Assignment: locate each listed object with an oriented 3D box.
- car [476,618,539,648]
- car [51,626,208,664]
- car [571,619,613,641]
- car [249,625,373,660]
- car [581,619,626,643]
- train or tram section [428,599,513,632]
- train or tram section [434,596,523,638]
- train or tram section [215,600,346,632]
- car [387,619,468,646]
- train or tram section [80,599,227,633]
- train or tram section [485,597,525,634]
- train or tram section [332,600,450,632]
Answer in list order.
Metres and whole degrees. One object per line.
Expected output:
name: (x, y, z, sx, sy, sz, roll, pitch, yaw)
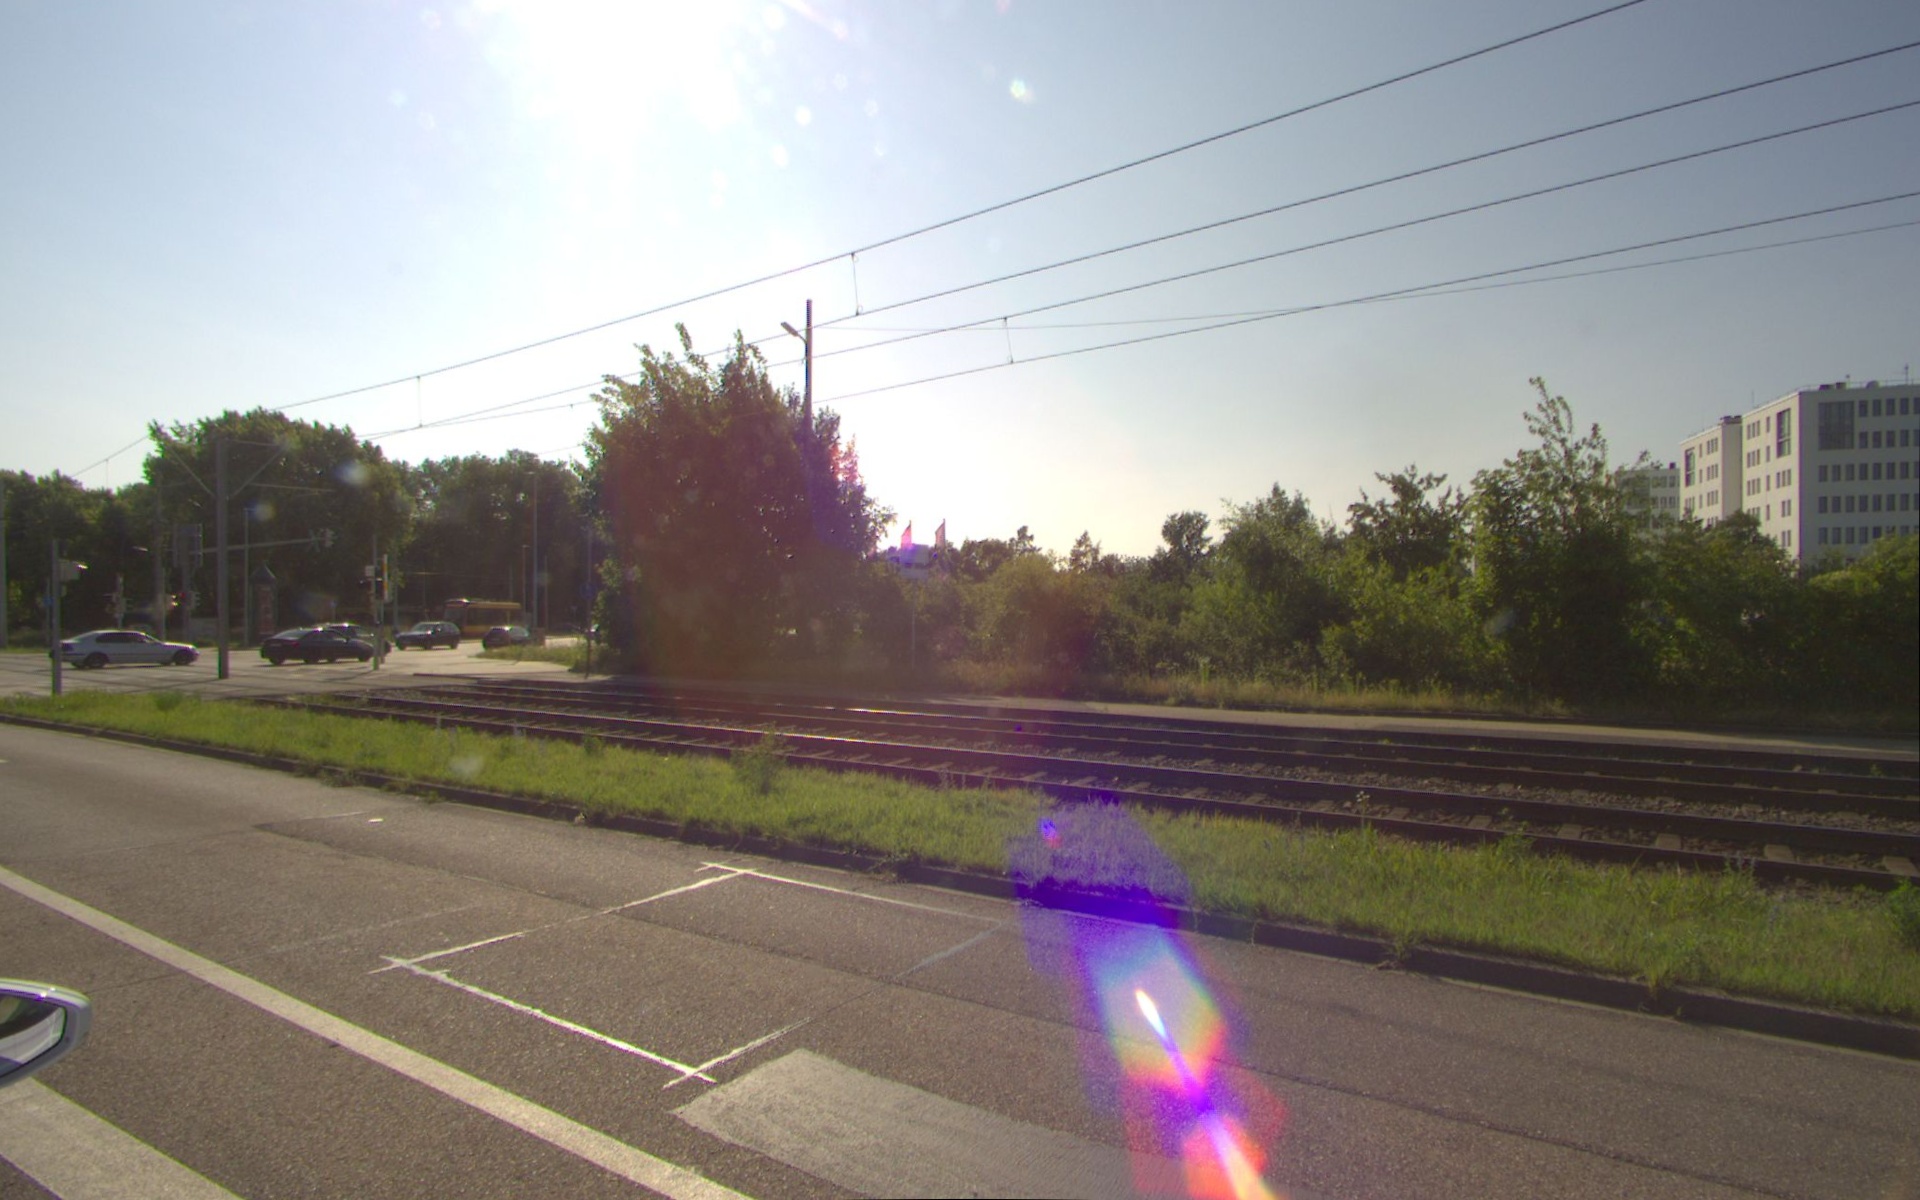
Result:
car: (-26.423, 1.914, 58.640, 1.961, 1.686, 4.633, 0, -1, -6)
car: (-32.325, 1.703, 39.102, 1.972, 1.371, 4.385, -1, -1, 34)
car: (-28.717, 2.310, 78.323, 1.961, 1.686, 4.633, 0, -1, -6)
car: (-26.667, 1.719, 41.351, 1.961, 1.371, 4.408, 0, -1, 6)
car: (-25.652, 2.192, 72.157, 1.961, 1.686, 4.633, 0, -1, -6)
train or tram section: (-55.557, 1.745, 113.435, 12.061, 3.626, 3.037, -1, -1, 34)
train or tram section: (-44.577, 1.571, 93.244, 2.995, 3.626, 11.853, 0, -1, -3)
train or tram section: (-78.214, 1.860, 115.612, 12.027, 3.626, 3.045, 0, -1, -22)
car: (-31.889, 1.926, 60.119, 2.005, 1.583, 4.863, 0, -1, 5)
train or tram section: (-88.977, 1.757, 110.798, 12.249, 3.626, 3.041, 0, -1, -27)
train or tram section: (-47.649, 1.627, 104.604, 3.009, 3.626, 12.174, 0, -1, -28)
train or tram section: (-66.500, 1.884, 117.214, 11.992, 3.626, 3.054, 0, -1, -1)
